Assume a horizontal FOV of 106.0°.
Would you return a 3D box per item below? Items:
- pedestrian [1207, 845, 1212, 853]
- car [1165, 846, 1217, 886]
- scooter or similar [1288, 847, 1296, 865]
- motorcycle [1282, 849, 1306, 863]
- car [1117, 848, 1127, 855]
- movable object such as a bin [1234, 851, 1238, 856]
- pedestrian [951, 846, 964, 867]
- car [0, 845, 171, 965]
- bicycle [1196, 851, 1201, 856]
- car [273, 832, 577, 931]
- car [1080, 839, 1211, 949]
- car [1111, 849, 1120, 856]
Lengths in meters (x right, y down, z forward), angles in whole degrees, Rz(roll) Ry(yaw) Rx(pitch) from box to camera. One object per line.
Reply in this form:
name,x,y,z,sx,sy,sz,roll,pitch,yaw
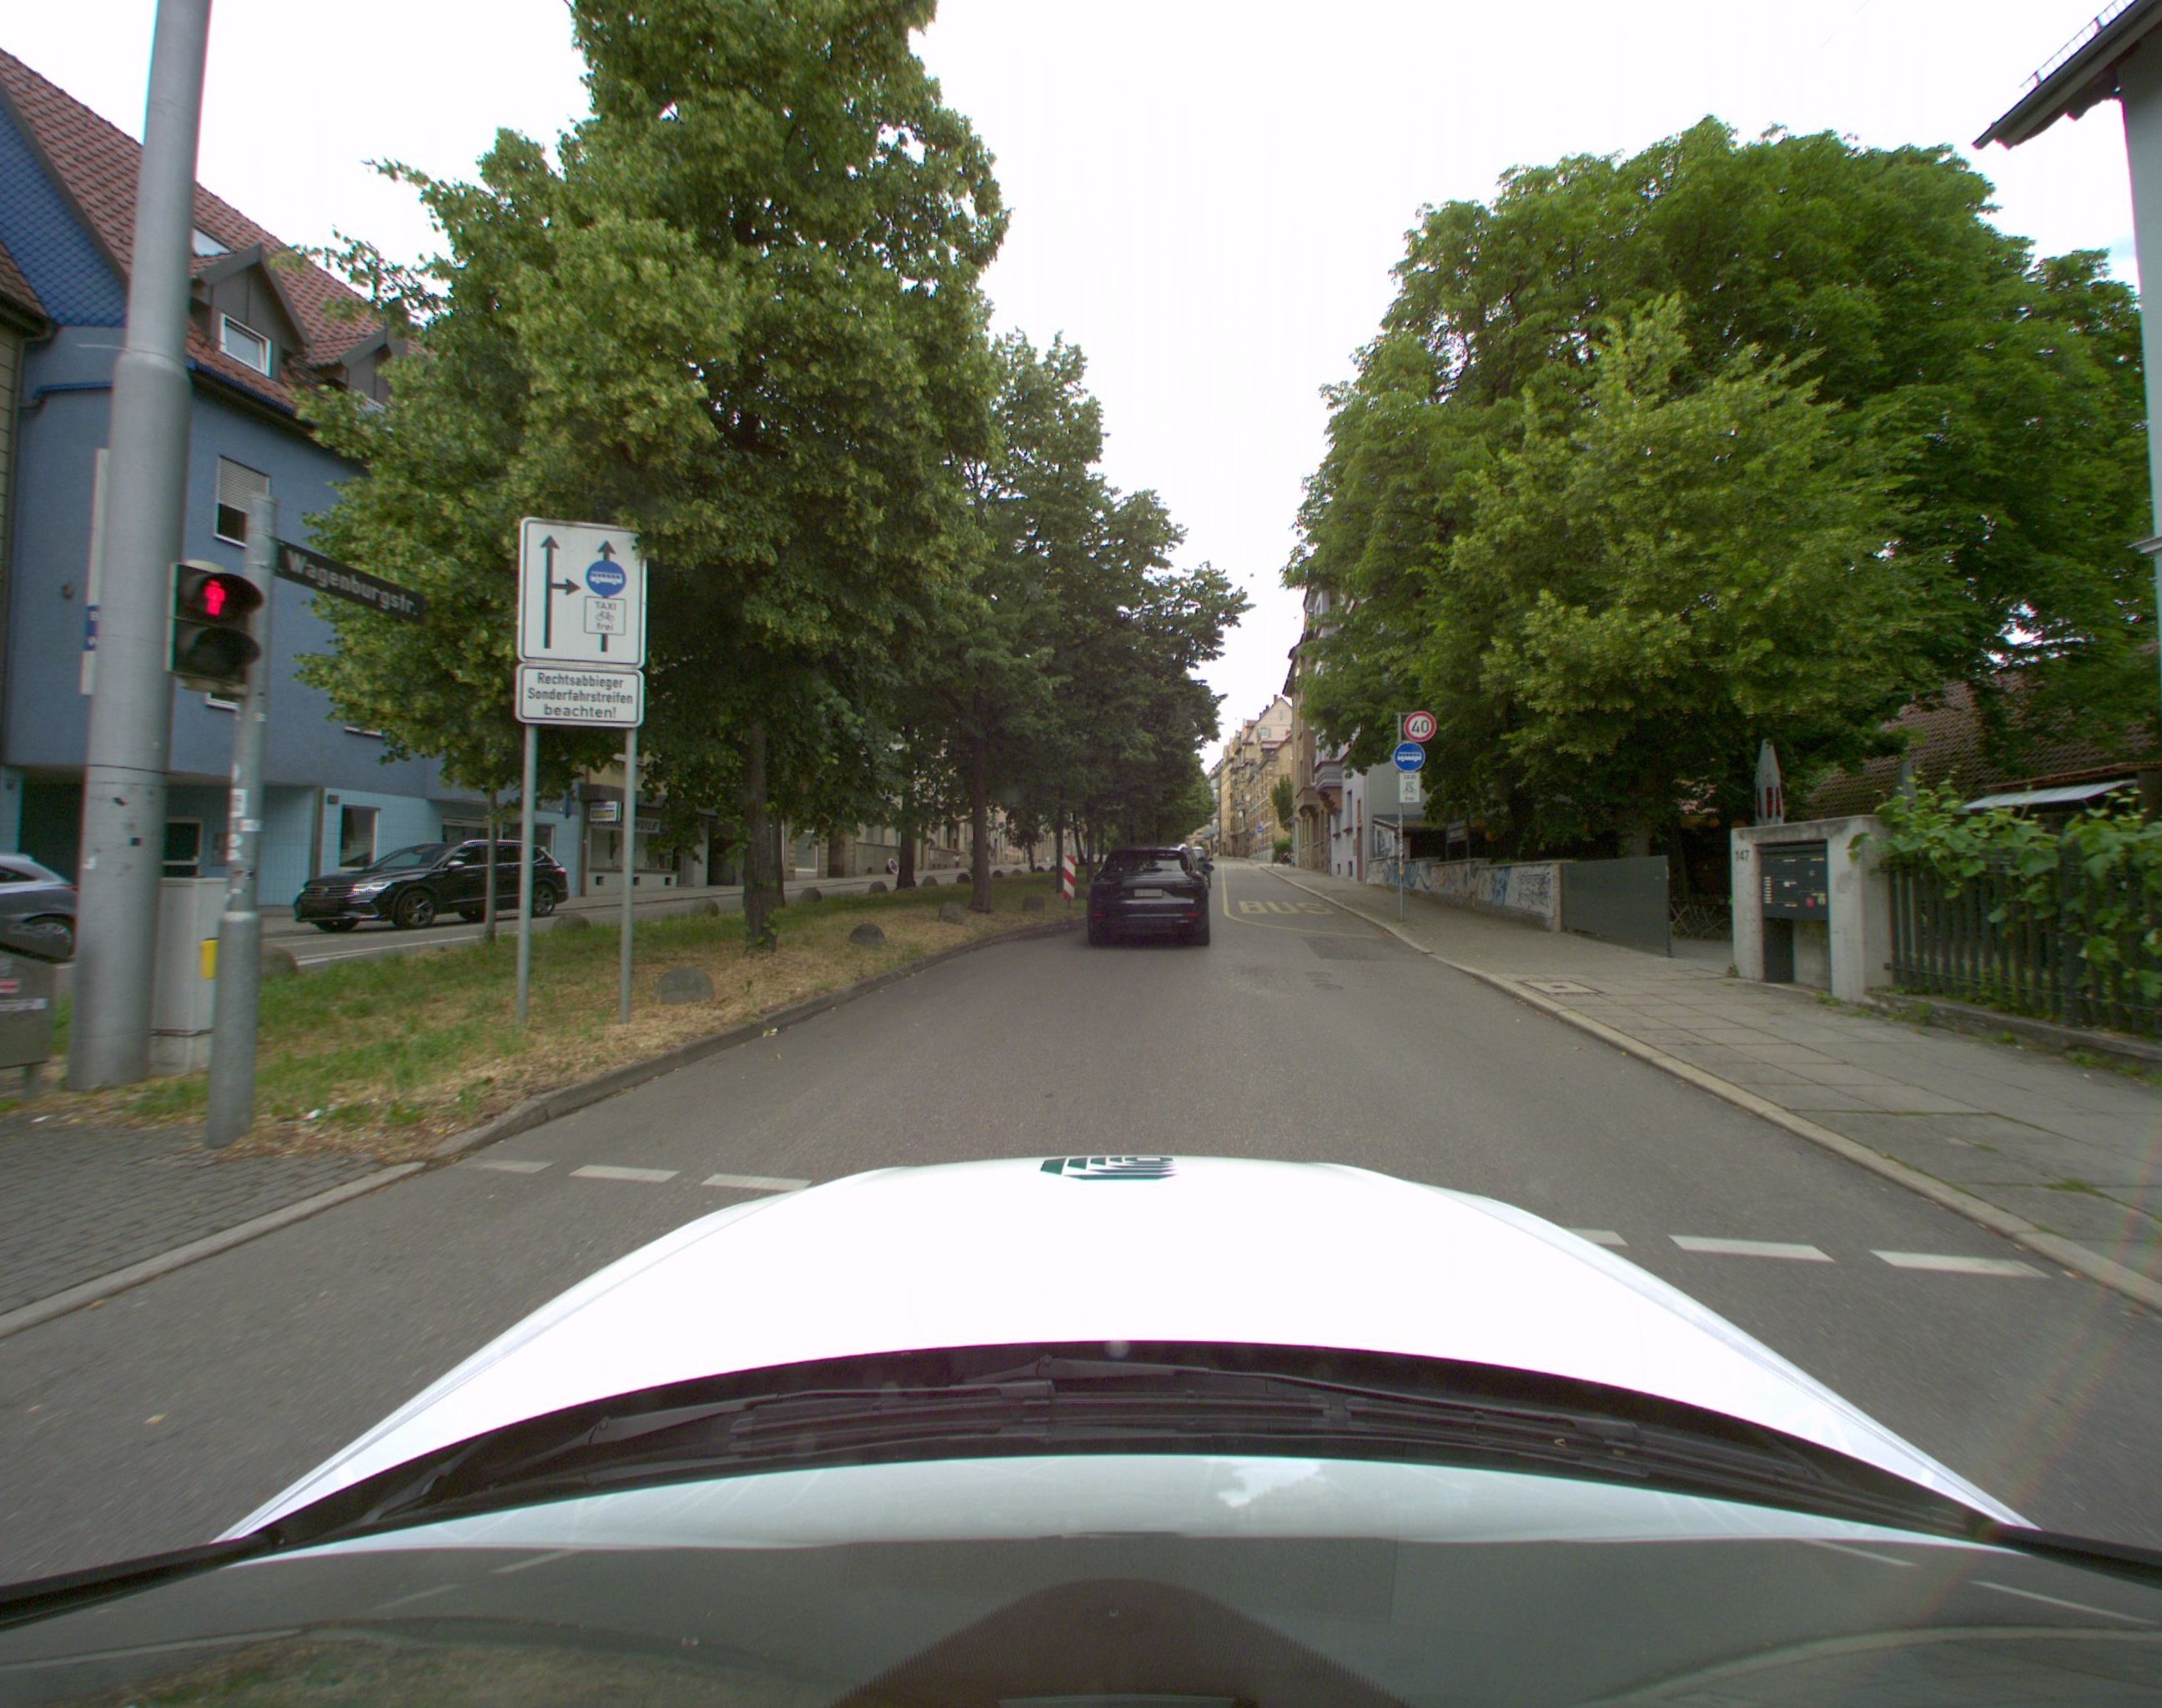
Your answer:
pedestrian,26.580,-1.059,168.411,0.748,1.693,0.859,0,-2,4
car,4.352,0.464,31.820,1.752,1.465,3.603,1,-1,11
scooter or similar,15.503,0.150,59.759,0.407,1.210,1.148,-3,3,9
motorcycle,20.300,0.165,77.625,2.045,1.268,1.011,1,0,5
car,8.534,-0.572,169.313,1.699,1.382,4.679,-2,1,8
movable object such as a bin,24.526,-0.078,128.734,0.591,0.904,0.563,1,-1,4
pedestrian,-8.627,0.184,56.789,0.694,1.460,0.706,1,1,10
car,-13.593,0.612,9.139,1.660,1.407,4.303,-1,0,7
bicycle,27.251,-0.067,188.888,0.875,1.129,2.980,1,-2,2
car,-12.599,0.500,16.149,1.805,1.637,4.690,-2,-1,8
car,1.247,0.588,14.429,1.983,1.665,4.009,0,0,7
car,8.015,-0.305,187.732,1.699,1.382,4.299,-2,1,8
